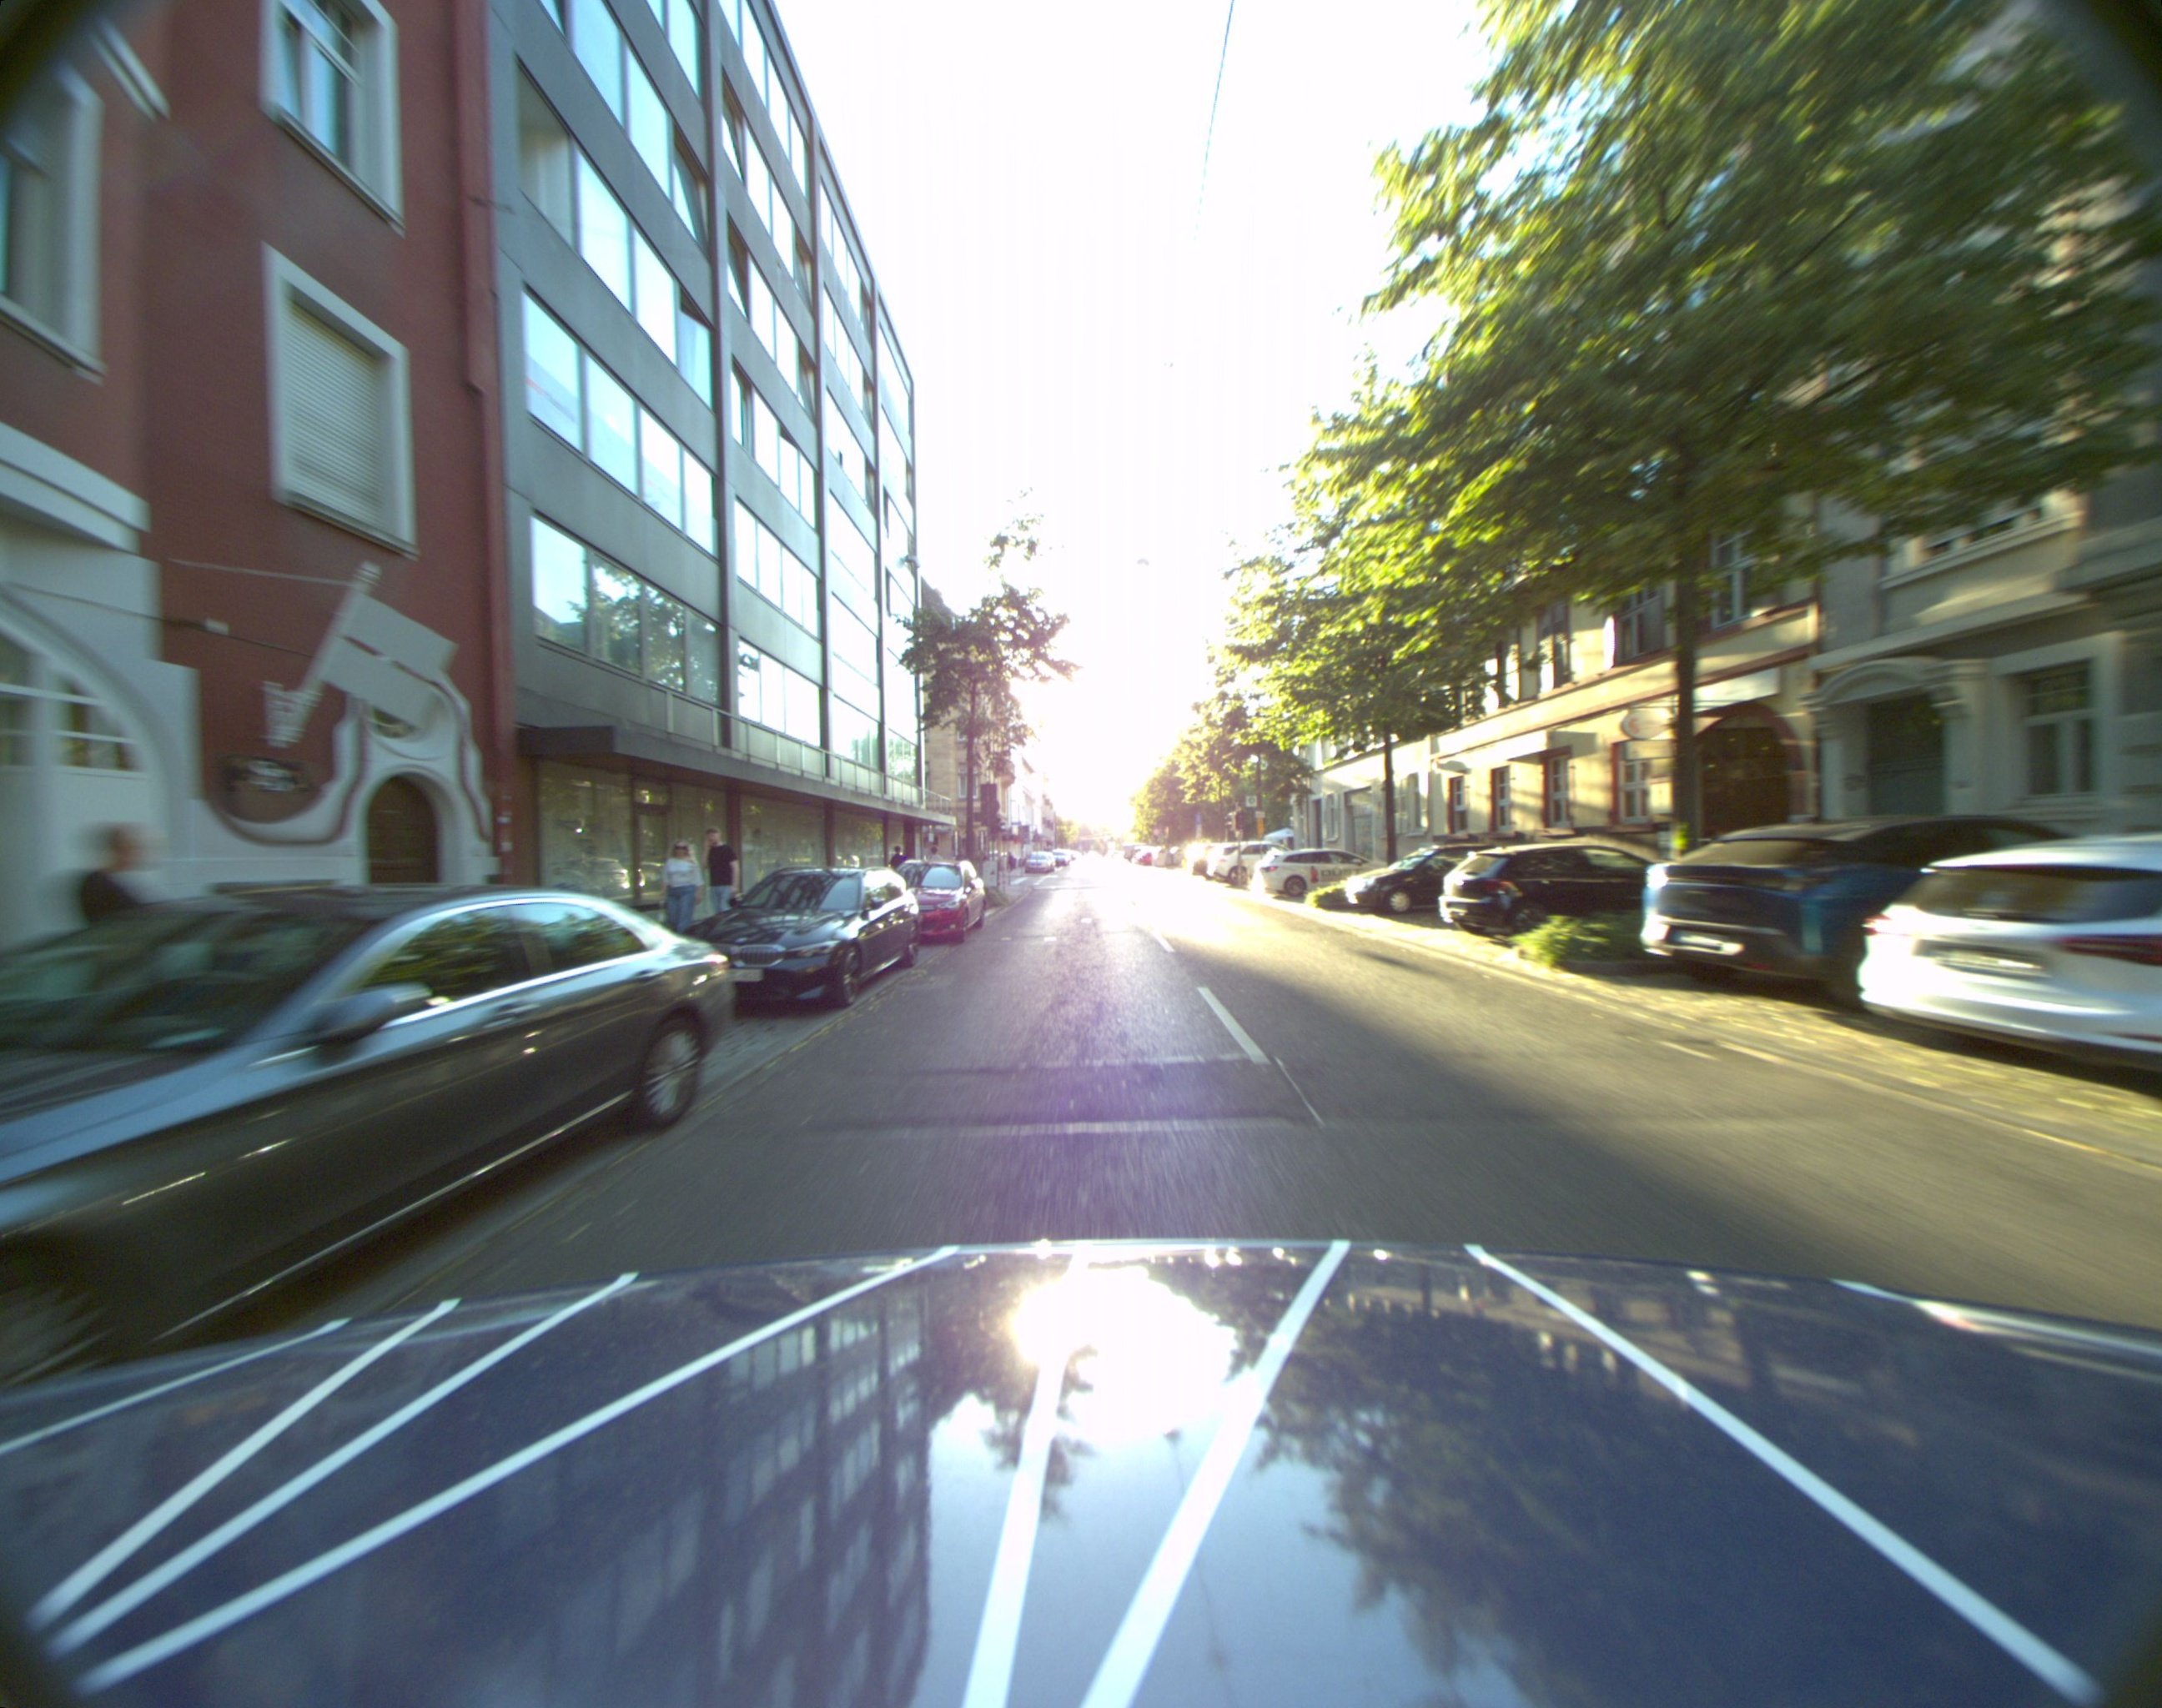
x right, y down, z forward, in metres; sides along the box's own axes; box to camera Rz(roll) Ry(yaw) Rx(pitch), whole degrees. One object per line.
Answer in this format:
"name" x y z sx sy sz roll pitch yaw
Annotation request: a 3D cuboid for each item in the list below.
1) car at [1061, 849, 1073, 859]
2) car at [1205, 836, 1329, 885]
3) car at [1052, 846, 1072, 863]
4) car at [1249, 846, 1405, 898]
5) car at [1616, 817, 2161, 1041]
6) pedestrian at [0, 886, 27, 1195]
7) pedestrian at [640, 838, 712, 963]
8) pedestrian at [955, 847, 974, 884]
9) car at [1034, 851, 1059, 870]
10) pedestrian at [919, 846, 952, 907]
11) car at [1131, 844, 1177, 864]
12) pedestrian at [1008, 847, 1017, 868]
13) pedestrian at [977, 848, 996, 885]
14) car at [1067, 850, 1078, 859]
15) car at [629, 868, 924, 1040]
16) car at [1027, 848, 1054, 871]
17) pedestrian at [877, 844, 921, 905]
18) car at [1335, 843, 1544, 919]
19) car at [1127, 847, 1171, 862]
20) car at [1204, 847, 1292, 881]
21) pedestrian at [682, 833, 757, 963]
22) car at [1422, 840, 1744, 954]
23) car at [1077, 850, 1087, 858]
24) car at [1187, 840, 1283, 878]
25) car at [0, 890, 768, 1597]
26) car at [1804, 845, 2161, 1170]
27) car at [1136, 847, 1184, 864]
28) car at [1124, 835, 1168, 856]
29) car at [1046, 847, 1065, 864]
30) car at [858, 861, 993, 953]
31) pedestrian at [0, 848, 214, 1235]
"car" -2.216 -0.029 121.231 1.804 1.570 4.403 1 0 1
"car" 7.812 0.286 32.295 4.718 1.800 2.053 -3 0 2
"car" -2.227 0.076 88.906 1.867 1.900 4.256 2 0 4
"car" 7.799 0.544 24.402 4.393 1.414 1.822 -3 0 1
"car" 7.815 0.582 7.159 4.242 1.641 1.893 -3 0 -3
"pedestrian" -5.501 0.898 3.409 0.626 1.480 0.640 0 1 2
"pedestrian" -6.046 0.667 11.369 0.590 1.799 0.835 1 1 1
"pedestrian" -5.589 0.560 36.555 0.756 1.748 0.812 -1 1 1
"car" -2.834 0.516 62.867 1.580 1.451 3.587 2 0 4
"pedestrian" -4.413 0.658 23.044 0.731 1.775 0.870 3 1 1
"car" 7.619 -0.013 79.223 4.579 1.922 1.896 -2 1 -37
"pedestrian" -5.536 0.285 61.139 0.599 1.653 0.603 1 2 7
"pedestrian" -4.534 0.595 36.377 0.756 1.748 0.812 -1 1 1
"car" -1.529 0.029 133.147 1.804 1.570 4.403 1 0 1
"car" -3.296 0.968 9.279 1.779 1.462 4.417 1 0 0
"car" -3.087 0.393 58.044 1.758 1.639 3.793 2 0 1
"pedestrian" -5.493 0.593 23.024 1.049 1.775 0.945 2 1 1
"car" 7.917 0.573 17.071 3.794 1.440 1.789 -3 0 3
"car" 7.695 0.072 86.248 4.577 1.573 2.131 -2 0 -28
"car" 7.942 0.465 36.451 3.825 1.453 1.821 -2 0 2
"pedestrian" -5.396 0.626 11.387 0.627 1.857 0.976 1 1 1
"car" 7.743 0.627 11.966 3.925 1.440 1.697 -3 0 -2
"car" 0.208 -0.058 147.700 1.804 1.570 4.403 1 0 1
"car" 7.862 0.243 39.117 4.567 1.772 1.946 -1 1 0
"car" -3.361 1.017 3.218 1.778 1.432 5.000 1 0 3
"car" 7.312 0.697 4.477 4.196 1.474 1.970 -3 0 0
"car" 7.552 0.126 72.468 4.579 1.548 1.809 -2 0 -37
"car" 7.649 -0.967 89.408 4.782 2.344 2.153 -2 1 -27
"car" -2.646 0.149 80.667 1.758 1.639 3.793 2 0 1
"car" -2.954 0.933 15.466 1.726 1.484 4.752 1 0 0
"pedestrian" -4.786 0.806 3.584 0.626 1.667 0.640 0 1 2
